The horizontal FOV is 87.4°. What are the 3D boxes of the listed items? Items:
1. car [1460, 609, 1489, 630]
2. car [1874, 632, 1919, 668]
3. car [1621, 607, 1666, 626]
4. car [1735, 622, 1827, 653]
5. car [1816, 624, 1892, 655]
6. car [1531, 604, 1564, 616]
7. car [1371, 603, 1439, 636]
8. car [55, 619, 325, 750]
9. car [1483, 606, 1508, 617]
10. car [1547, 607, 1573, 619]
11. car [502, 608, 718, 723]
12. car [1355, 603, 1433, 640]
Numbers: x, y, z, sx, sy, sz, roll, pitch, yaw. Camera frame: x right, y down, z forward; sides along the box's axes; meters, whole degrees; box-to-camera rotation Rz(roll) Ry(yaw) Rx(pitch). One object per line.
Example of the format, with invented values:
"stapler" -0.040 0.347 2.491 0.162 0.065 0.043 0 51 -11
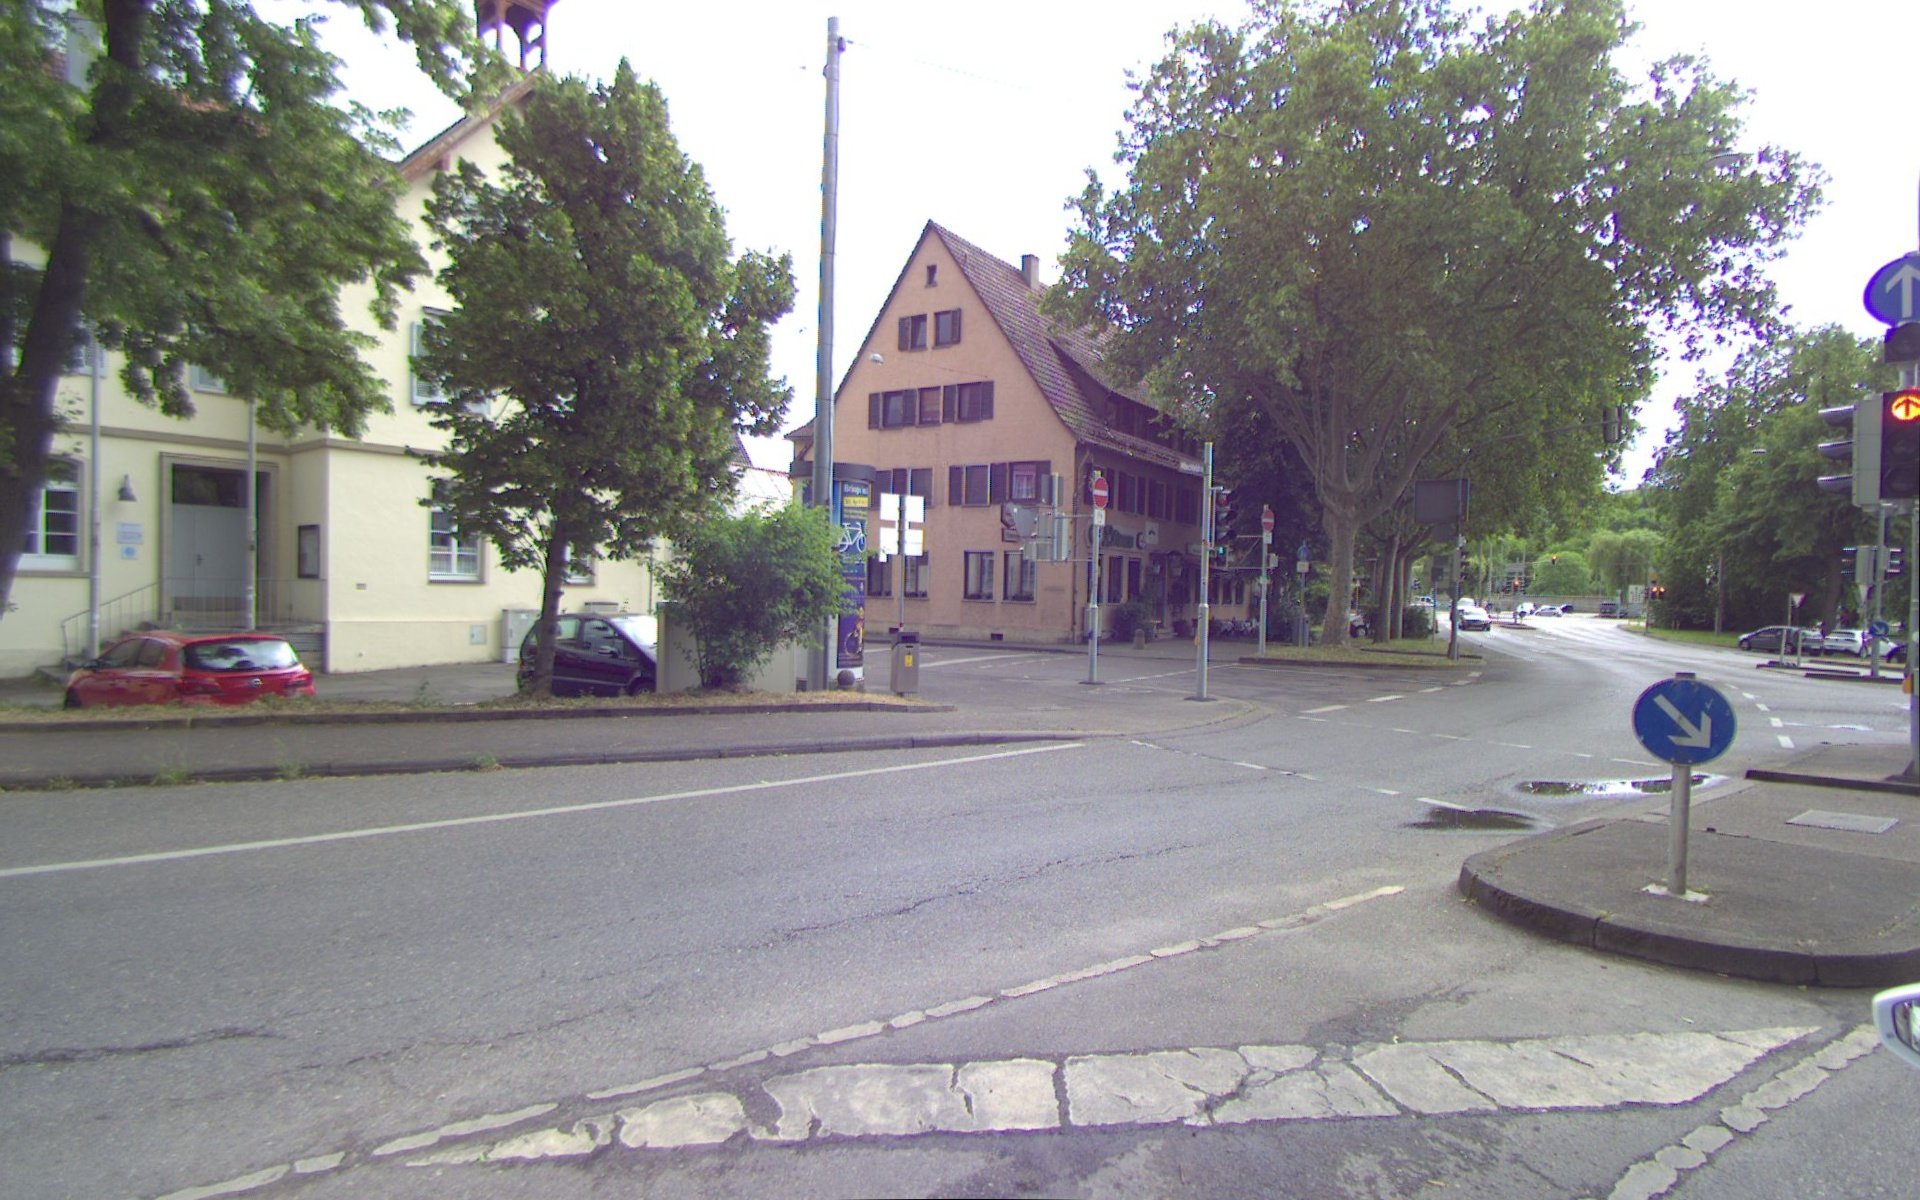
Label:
"car" 35.542 1.345 69.427 1.404 1.435 2.872 1 -1 19
"car" 39.566 2.083 40.941 1.442 1.412 3.596 2 0 3
"car" 77.481 1.852 113.902 1.852 2.040 3.946 2 0 -45
"car" 43.860 1.976 53.757 1.559 1.484 3.543 2 0 -17
"car" 47.299 2.089 53.158 3.342 1.484 1.543 2 0 -19
"car" 85.294 1.484 145.754 3.935 1.572 1.862 2 0 37
"car" 25.466 1.092 57.464 3.387 1.765 1.570 2 0 28
"car" -10.178 1.012 13.243 3.492 1.397 1.605 2 0 30
"car" 100.712 2.153 188.933 3.928 2.040 1.996 2 0 30
"car" 108.226 2.342 181.087 3.928 2.040 1.996 2 0 30
"car" -5.767 1.005 16.591 3.035 1.654 1.607 2 0 22
"car" 21.405 1.052 49.580 3.387 1.663 1.570 2 0 28
